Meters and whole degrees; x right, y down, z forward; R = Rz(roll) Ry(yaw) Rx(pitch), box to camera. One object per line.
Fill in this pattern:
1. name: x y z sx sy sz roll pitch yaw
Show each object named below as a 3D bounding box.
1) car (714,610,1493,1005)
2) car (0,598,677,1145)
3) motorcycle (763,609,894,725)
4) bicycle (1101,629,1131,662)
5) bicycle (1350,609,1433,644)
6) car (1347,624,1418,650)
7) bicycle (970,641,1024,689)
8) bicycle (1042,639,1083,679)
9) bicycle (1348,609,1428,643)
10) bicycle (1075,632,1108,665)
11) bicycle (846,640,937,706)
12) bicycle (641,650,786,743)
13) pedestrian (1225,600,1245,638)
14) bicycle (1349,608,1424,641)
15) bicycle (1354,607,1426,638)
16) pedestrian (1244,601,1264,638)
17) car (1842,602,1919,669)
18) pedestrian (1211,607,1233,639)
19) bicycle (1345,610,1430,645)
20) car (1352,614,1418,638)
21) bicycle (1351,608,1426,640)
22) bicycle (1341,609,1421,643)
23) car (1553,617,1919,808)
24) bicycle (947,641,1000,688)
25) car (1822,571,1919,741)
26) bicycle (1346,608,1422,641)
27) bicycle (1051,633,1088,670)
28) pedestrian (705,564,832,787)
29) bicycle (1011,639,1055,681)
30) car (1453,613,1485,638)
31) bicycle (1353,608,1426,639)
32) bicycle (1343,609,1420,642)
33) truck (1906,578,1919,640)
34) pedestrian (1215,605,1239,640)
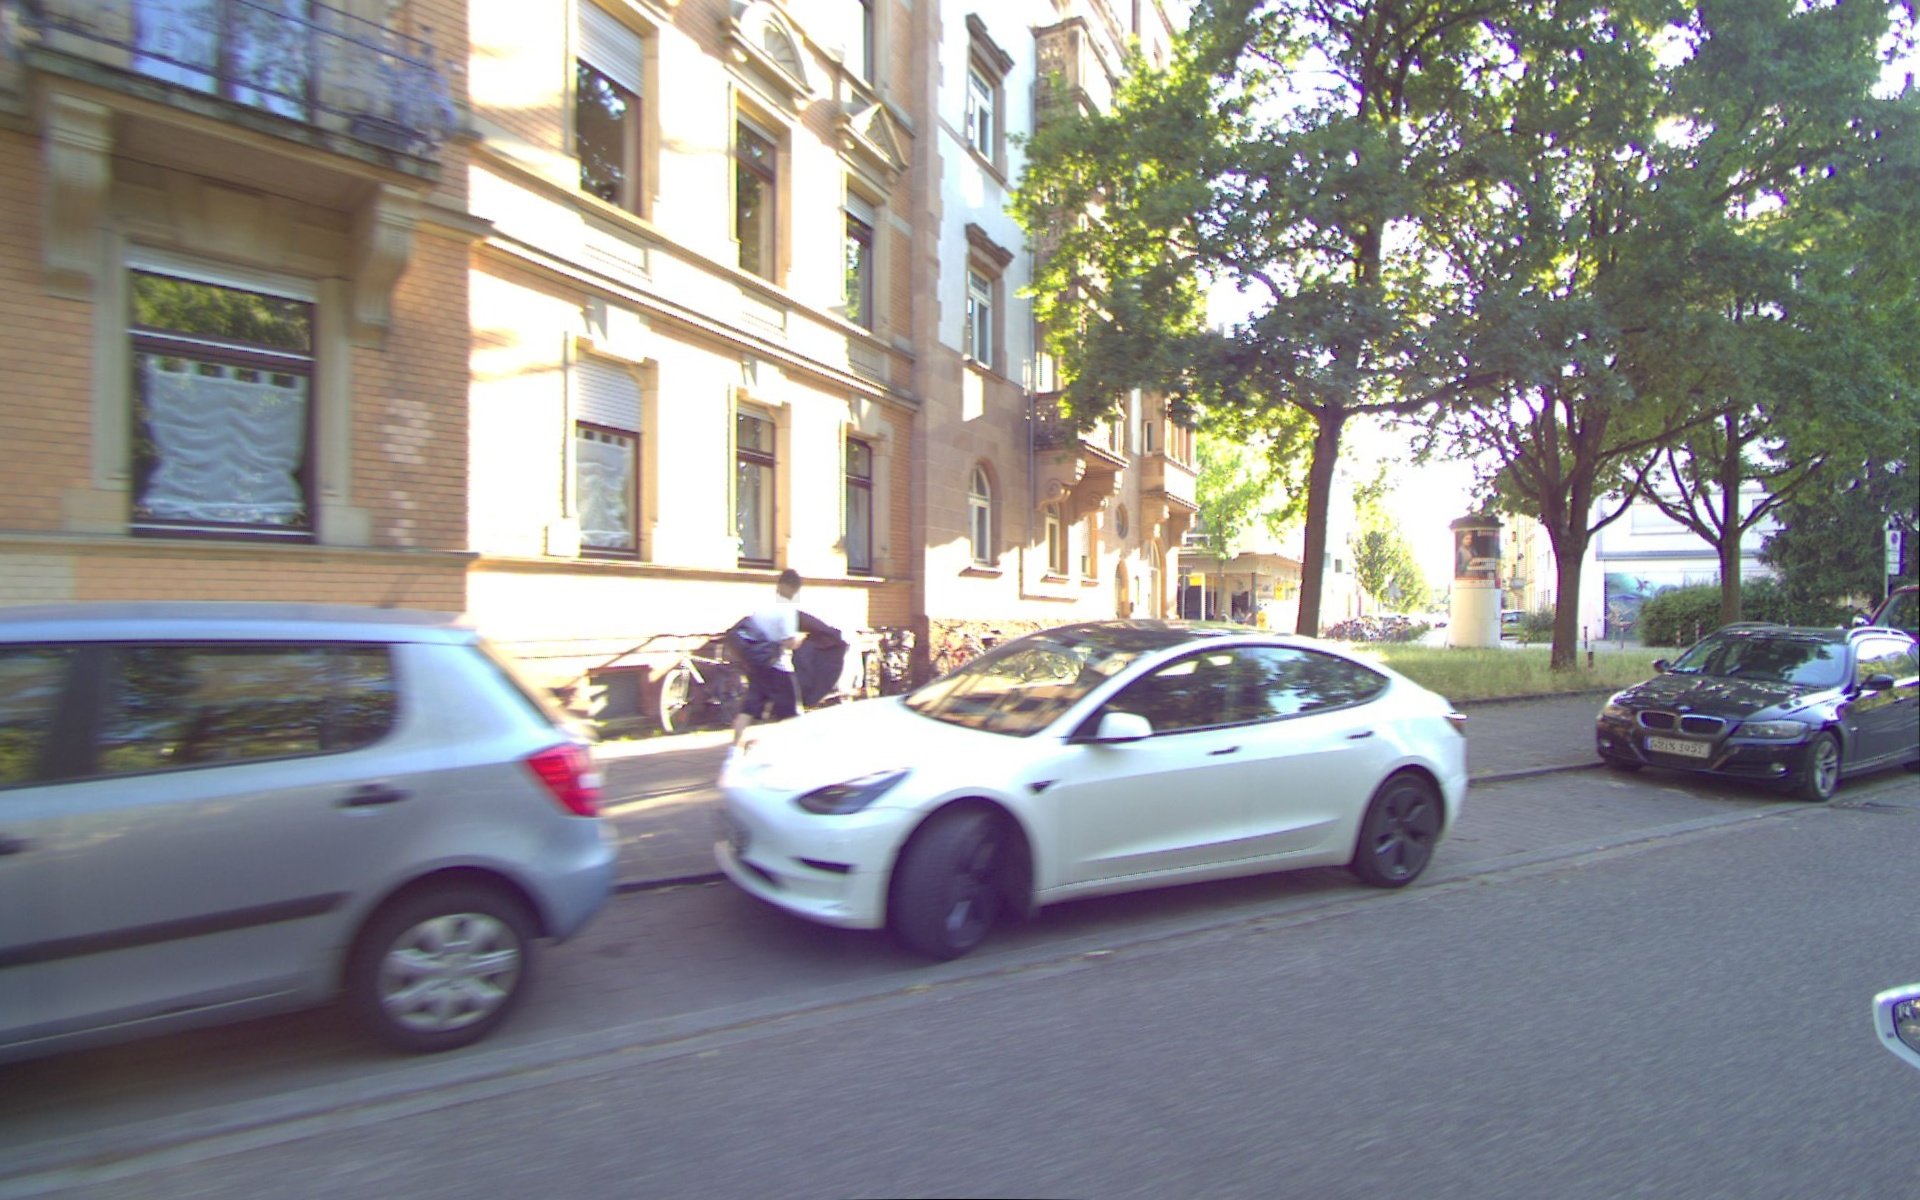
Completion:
1. car: 0.912 0.837 5.758 4.218 1.495 1.768 0 1 -29
2. car: -3.128 0.759 3.494 3.838 1.495 1.674 0 1 -32
3. motorcycle: -1.672 0.821 13.110 0.795 1.371 1.897 -1 0 24
4. bicycle: 3.985 1.145 25.594 0.362 0.742 1.509 0 1 24
5. bicycle: 19.282 1.159 44.928 3.319 1.464 0.880 0 0 29
6. car: 26.428 2.313 62.808 3.928 1.579 1.742 -1 -1 30
7. bicycle: 0.654 1.109 17.438 0.407 0.742 1.509 0 -1 24
8. bicycle: 2.073 1.168 20.236 0.362 0.742 1.509 0 -1 24
9. bicycle: 19.587 1.161 45.997 3.319 1.464 0.880 0 0 29
10. bicycle: 3.150 1.145 24.034 0.362 0.742 1.509 0 -1 24
11. bicycle: -0.991 1.059 15.026 0.515 0.859 1.897 -1 0 24
12. bicycle: -2.712 1.036 11.269 0.515 0.859 1.897 -1 0 24
13. pedestrian: 14.198 0.983 51.783 0.836 1.900 0.890 -1 -1 26
14. bicycle: 21.020 1.186 49.539 3.318 1.464 0.880 2 0 29
15. bicycle: 22.294 1.153 52.115 3.318 1.464 0.880 2 0 29
16. pedestrian: 15.090 1.003 51.470 0.836 1.900 0.890 -1 -1 26
17. car: 25.277 0.884 25.324 1.930 1.669 4.473 1 -1 -45
18. pedestrian: 13.263 1.155 50.907 0.875 1.590 0.963 -1 -1 27
19. bicycle: 18.604 1.169 43.770 3.319 1.464 0.880 0 0 29
20. car: 28.637 1.750 67.635 3.928 1.579 1.742 -1 -1 30
21. bicycle: 21.478 1.179 50.374 3.318 1.464 0.880 2 0 29
22. bicycle: 19.731 1.207 47.117 3.318 1.464 0.880 2 0 29
23. car: 7.982 0.934 9.868 4.217 1.453 1.769 0 1 -28
24. bicycle: 0.249 1.107 17.518 0.362 0.742 1.509 0 -1 24
25. car: 13.053 0.647 12.762 4.717 1.960 1.767 0 1 -31
26. bicycle: 20.561 1.192 48.739 3.318 1.464 0.880 2 0 29
27. bicycle: 2.400 1.114 21.869 0.362 0.742 1.509 0 -1 24
28. pedestrian: -1.584 0.587 8.411 0.662 1.741 0.912 1 1 19
29. bicycle: 1.449 1.165 19.778 0.362 0.742 1.509 0 -1 24
30. car: 37.729 1.905 74.433 1.964 1.808 3.994 -1 -1 29
31. bicycle: 21.875 1.168 51.241 3.318 1.464 0.880 2 0 29
32. bicycle: 20.119 1.198 47.995 3.318 1.464 0.880 2 0 29
33. truck: 41.801 0.359 40.524 4.879 2.568 1.998 -1 -1 26
34. pedestrian: 13.202 1.124 49.624 0.946 1.688 1.214 -1 -1 27
